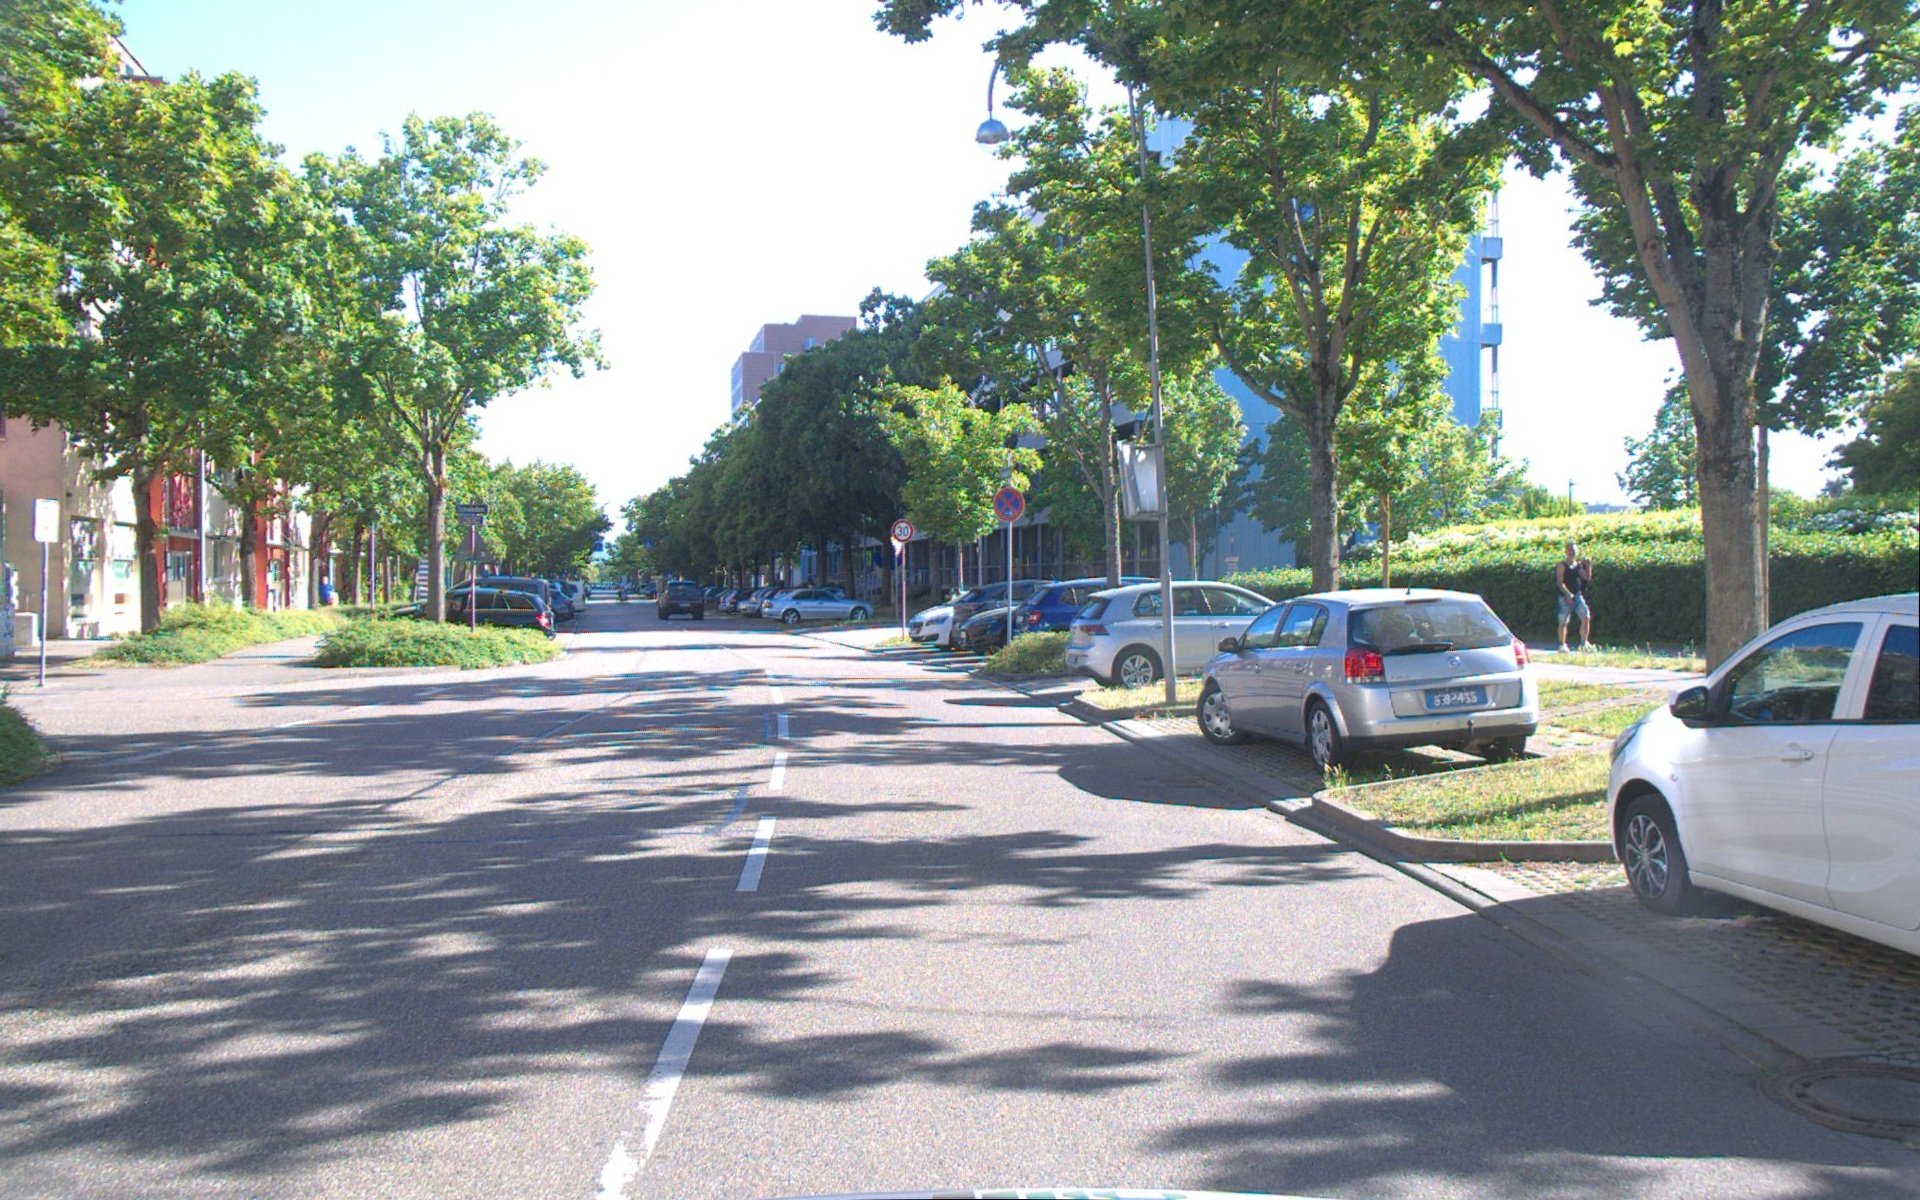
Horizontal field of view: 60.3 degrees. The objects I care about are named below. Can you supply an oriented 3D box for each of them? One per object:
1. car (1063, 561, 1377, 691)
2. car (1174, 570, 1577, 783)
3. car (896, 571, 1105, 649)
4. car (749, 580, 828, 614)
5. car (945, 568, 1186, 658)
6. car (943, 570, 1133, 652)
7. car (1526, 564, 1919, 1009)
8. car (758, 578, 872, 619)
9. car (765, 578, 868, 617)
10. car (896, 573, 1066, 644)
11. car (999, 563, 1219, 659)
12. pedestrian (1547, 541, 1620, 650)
[{"bbox_3d":[3.607,0.339,23.299,4.011,1.454,1.640,-4,1,-6],"label":"car"},{"bbox_3d":[3.494,0.564,14.938,1.776,1.519,4.613,-3,1,-10],"label":"car"},{"bbox_3d":[0.947,0.218,38.853,4.481,1.541,1.971,-3,0,-19],"label":"car"},{"bbox_3d":[-8.566,-0.159,82.552,3.684,1.519,1.609,-2,1,-17],"label":"car"},{"bbox_3d":[2.119,0.251,33.889,4.471,1.541,2.152,-3,0,-13],"label":"car"},{"bbox_3d":[1.694,0.228,36.402,3.808,1.541,1.745,-3,0,-13],"label":"car"},{"bbox_3d":[4.057,0.635,7.143,1.611,1.519,3.761,-3,1,-5],"label":"car"},{"bbox_3d":[-6.004,-0.069,68.233,4.498,1.501,1.741,-2,1,-12],"label":"car"},{"bbox_3d":[-6.404,-0.112,73.627,4.432,1.569,1.918,-2,1,-9],"label":"car"},{"bbox_3d":[0.517,0.200,41.415,3.888,1.541,1.692,-3,0,-19],"label":"car"},{"bbox_3d":[2.789,0.188,31.231,3.738,1.473,1.740,-5,1,-11],"label":"car"},{"bbox_3d":[9.233,-0.075,24.516,0.596,1.569,0.935,-1,0,-11],"label":"pedestrian"}]
